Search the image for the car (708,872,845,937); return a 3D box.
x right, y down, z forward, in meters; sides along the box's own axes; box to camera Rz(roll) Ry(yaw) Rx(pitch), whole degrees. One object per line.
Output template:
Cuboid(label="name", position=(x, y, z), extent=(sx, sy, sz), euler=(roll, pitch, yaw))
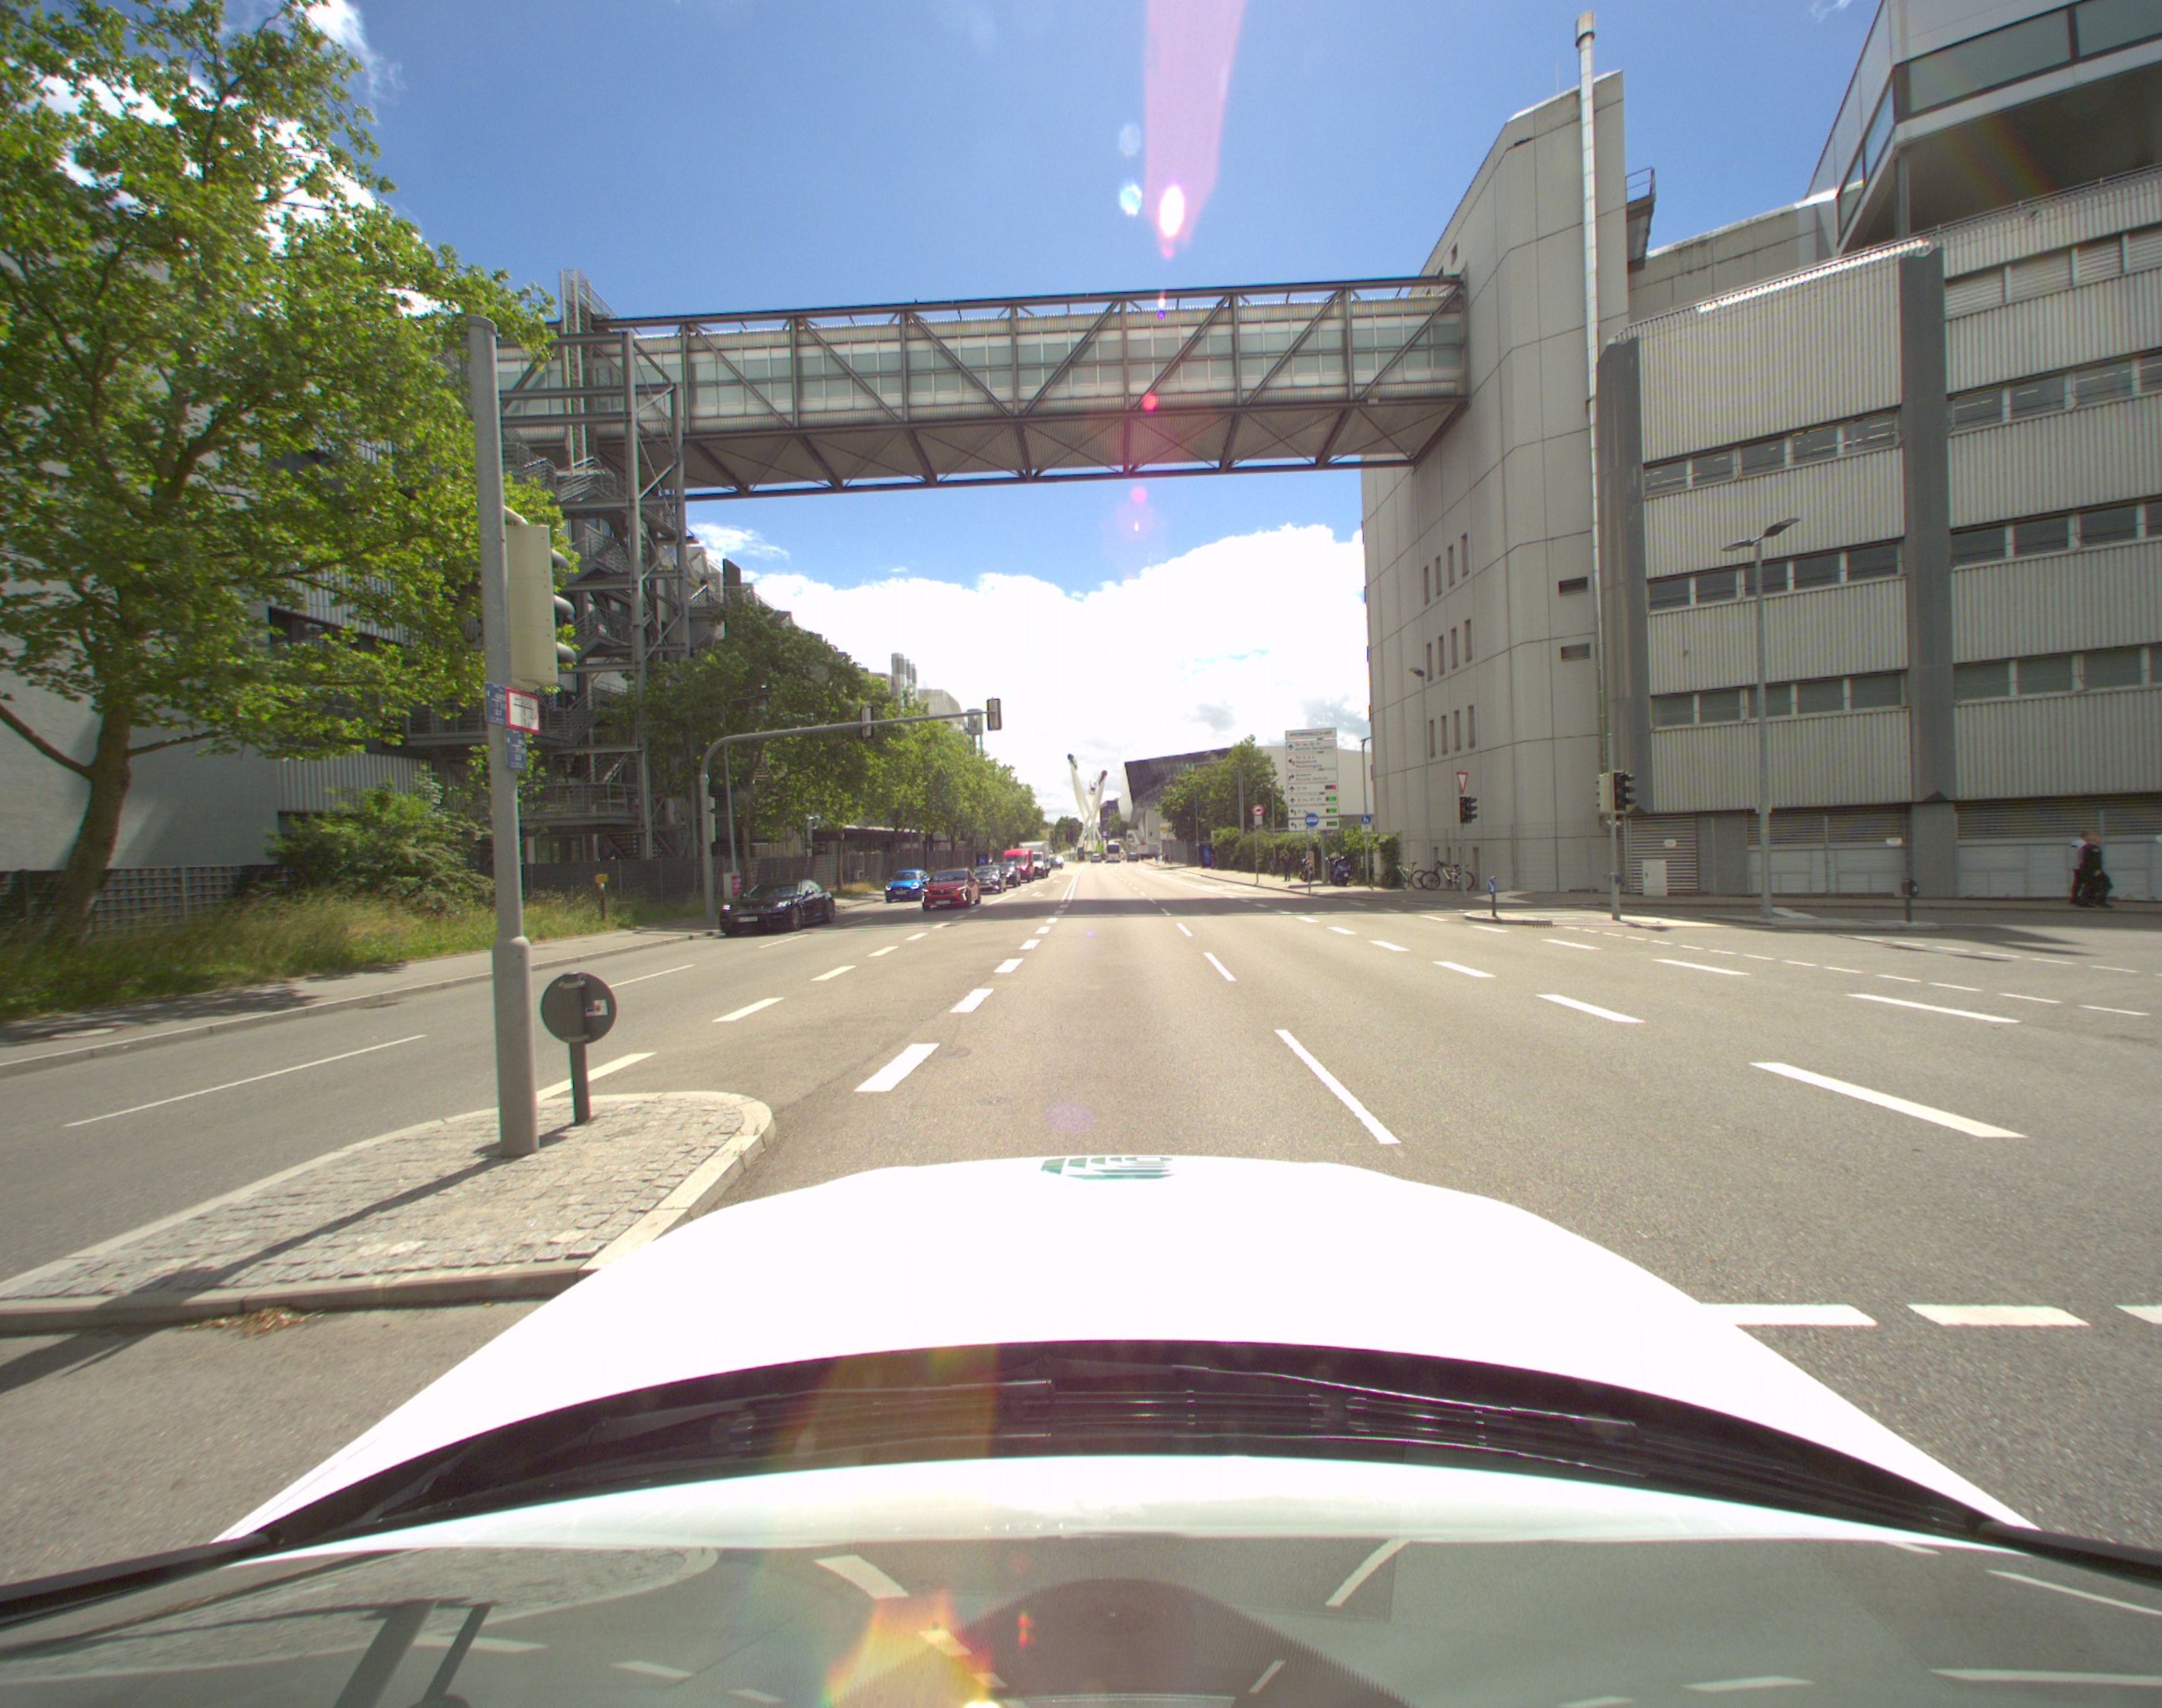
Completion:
Cuboid(label="car", position=(-8.593, 1.376, 23.534), extent=(1.910, 1.488, 4.774), euler=(-4, -1, 2))

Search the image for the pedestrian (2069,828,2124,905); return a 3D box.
Cuboid(label="pedestrian", position=(23.752, 0.295, 19.063), extent=(0.650, 1.755, 0.524), euler=(-1, 3, 29))

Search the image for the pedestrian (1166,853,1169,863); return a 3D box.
Cuboid(label="pedestrian", position=(12.363, 0.545, 115.779), extent=(0.384, 1.421, 0.424), euler=(0, -1, 2))

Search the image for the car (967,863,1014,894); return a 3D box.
Cuboid(label="car", position=(-4.664, 1.250, 42.311), extent=(1.762, 1.420, 3.703), euler=(-4, -1, 2))

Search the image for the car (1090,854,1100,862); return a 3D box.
Cuboid(label="car", position=(2.434, 0.609, 141.280), extent=(1.551, 1.273, 3.704), euler=(-4, -1, 3))

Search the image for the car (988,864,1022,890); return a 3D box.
Cuboid(label="car", position=(-4.661, 1.399, 50.363), extent=(1.551, 1.448, 3.775), euler=(-4, -1, 2))

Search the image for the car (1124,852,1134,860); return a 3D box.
Cuboid(label="car", position=(8.313, 0.305, 141.255), extent=(1.551, 1.273, 3.704), euler=(-4, -1, 3))

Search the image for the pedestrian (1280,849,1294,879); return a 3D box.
Cuboid(label="pedestrian", position=(11.211, 0.546, 44.366), extent=(0.532, 1.640, 0.657), euler=(0, -1, -4))

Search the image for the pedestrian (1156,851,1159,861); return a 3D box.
Cuboid(label="pedestrian", position=(11.306, 0.313, 120.140), extent=(0.384, 1.421, 0.424), euler=(0, -1, 2))

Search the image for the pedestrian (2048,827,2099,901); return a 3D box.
Cuboid(label="pedestrian", position=(24.085, 0.246, 19.775), extent=(0.650, 1.760, 0.487), euler=(-1, 2, 29))

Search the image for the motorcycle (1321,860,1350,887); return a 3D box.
Cuboid(label="motorcycle", position=(11.299, 0.858, 36.223), extent=(0.418, 1.166, 1.950), euler=(0, -1, -9))

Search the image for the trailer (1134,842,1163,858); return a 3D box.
Cuboid(label="trailer", position=(14.018, -0.767, 168.402), extent=(3.291, 2.995, 10.429), euler=(-1, -1, 21))

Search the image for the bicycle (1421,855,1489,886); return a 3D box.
Cuboid(label="bicycle", position=(13.622, 0.606, 29.711), extent=(2.166, 1.087, 0.480), euler=(-1, -2, 37))

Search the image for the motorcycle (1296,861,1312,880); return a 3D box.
Cuboid(label="motorcycle", position=(11.807, 0.877, 43.201), extent=(0.455, 1.022, 1.914), euler=(0, -1, 4))

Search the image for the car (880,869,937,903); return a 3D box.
Cuboid(label="car", position=(-8.182, 1.493, 39.017), extent=(1.720, 1.382, 3.703), euler=(-4, -1, 2))

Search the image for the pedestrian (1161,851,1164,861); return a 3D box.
Cuboid(label="pedestrian", position=(12.028, 0.324, 120.306), extent=(0.384, 1.421, 0.424), euler=(0, -1, 2))

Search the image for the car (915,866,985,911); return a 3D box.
Cuboid(label="car", position=(-4.803, 1.236, 30.326), extent=(1.762, 1.420, 3.703), euler=(-4, -1, 2))

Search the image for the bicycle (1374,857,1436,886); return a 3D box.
Cuboid(label="bicycle", position=(12.742, 0.695, 32.038), extent=(2.196, 1.087, 0.480), euler=(-1, -2, 37))

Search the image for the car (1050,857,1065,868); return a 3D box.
Cuboid(label="car", position=(-2.963, 1.131, 104.008), extent=(1.551, 1.273, 3.703), euler=(-4, -1, 2))

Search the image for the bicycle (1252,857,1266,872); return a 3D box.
Cuboid(label="bicycle", position=(12.328, 0.753, 56.462), extent=(0.417, 1.022, 1.910), euler=(0, -1, -2))

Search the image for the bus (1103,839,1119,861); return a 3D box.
Cuboid(label="bus", position=(5.275, -0.588, 142.898), extent=(2.776, 3.686, 6.946), euler=(0, -1, 2))

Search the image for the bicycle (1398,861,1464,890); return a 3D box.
Cuboid(label="bicycle", position=(13.178, 0.804, 30.694), extent=(2.196, 1.087, 0.480), euler=(-1, -2, 37))

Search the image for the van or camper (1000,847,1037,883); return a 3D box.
Cuboid(label="van or camper", position=(-4.526, 0.784, 60.119), extent=(2.038, 2.466, 5.597), euler=(-1, 0, 2))

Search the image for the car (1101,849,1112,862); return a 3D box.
Cuboid(label="car", position=(5.208, 0.314, 163.654), extent=(1.833, 2.624, 4.008), euler=(0, -1, 8))

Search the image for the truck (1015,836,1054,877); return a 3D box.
Cuboid(label="truck", position=(-3.904, 0.252, 69.478), extent=(2.581, 3.324, 7.082), euler=(0, -1, 2))
